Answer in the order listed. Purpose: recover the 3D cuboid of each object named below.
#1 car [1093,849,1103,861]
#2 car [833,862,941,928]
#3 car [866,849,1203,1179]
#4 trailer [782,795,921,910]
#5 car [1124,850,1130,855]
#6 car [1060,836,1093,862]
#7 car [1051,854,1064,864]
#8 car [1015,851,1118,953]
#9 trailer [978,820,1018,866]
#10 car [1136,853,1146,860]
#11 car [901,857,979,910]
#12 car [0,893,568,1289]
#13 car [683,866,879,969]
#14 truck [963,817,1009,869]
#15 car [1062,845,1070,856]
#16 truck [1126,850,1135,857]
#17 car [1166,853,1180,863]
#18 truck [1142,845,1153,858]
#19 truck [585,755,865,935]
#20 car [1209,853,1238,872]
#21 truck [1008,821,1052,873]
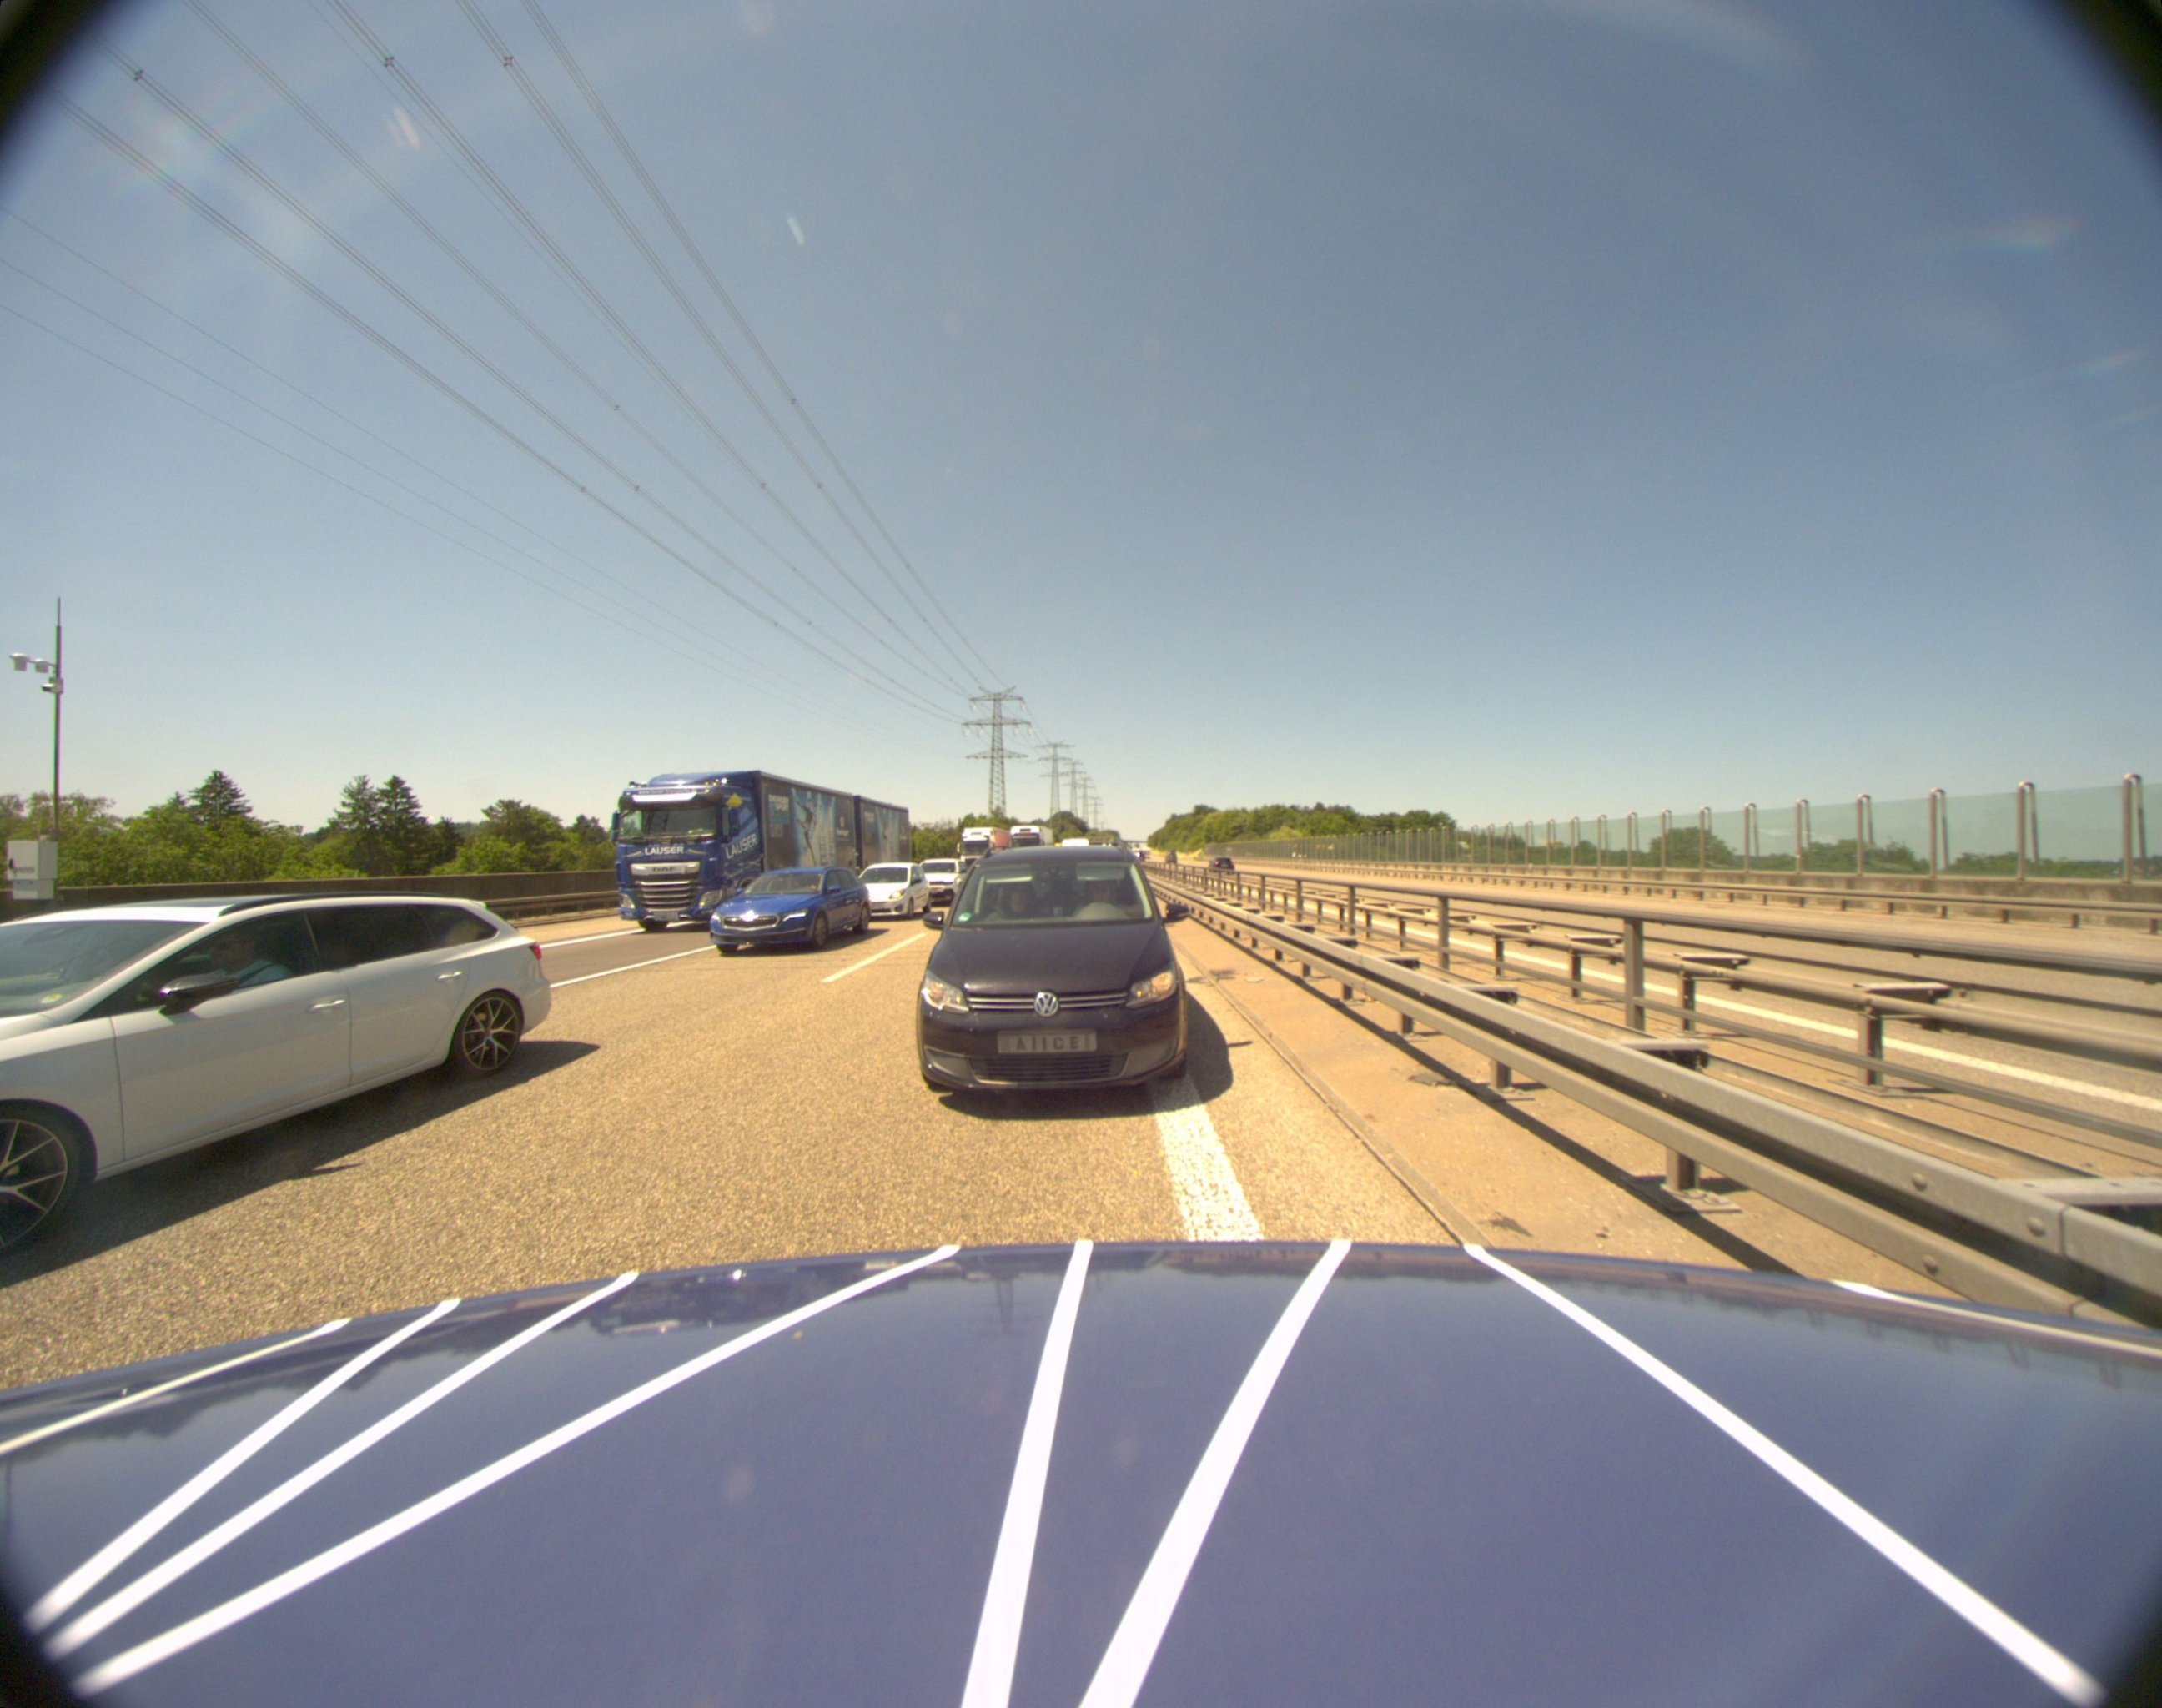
[{"bbox_3d":[3.247,0.127,144.543,1.704,2.116,4.000,-2,1,1],"label":"car"},{"bbox_3d":[-5.105,1.023,20.557,1.712,1.443,4.144,-2,1,2],"label":"car"},{"bbox_3d":[-0.214,0.837,5.971,1.712,1.669,3.931,-2,1,1],"label":"car"},{"bbox_3d":[-9.186,-0.110,31.729,2.835,4.065,8.637,-2,1,1],"label":"trailer"},{"bbox_3d":[14.703,-0.416,241.302,1.704,1.412,4.000,2,1,1],"label":"car"},{"bbox_3d":[-0.227,-0.338,49.022,1.924,1.501,3.996,-2,1,2],"label":"car"},{"bbox_3d":[-3.499,0.734,113.596,1.704,1.412,4.000,2,1,1],"label":"car"},{"bbox_3d":[-0.222,0.825,15.138,1.712,1.669,3.931,-2,1,1],"label":"car"},{"bbox_3d":[-7.848,-1.032,72.933,2.608,4.094,9.084,-2,1,0],"label":"trailer"},{"bbox_3d":[11.903,0.459,151.303,1.704,1.412,4.000,2,1,1],"label":"car"},{"bbox_3d":[-4.647,0.929,25.624,1.712,1.501,4.144,-2,1,2],"label":"car"},{"bbox_3d":[-5.251,1.074,4.233,1.713,1.443,4.429,-2,0,0],"label":"car"},{"bbox_3d":[-5.363,1.039,14.319,1.712,1.443,4.563,-2,1,2],"label":"car"},{"bbox_3d":[-7.904,-0.929,64.197,2.608,3.964,8.263,-2,1,0],"label":"truck"},{"bbox_3d":[-3.644,-0.838,188.629,1.704,2.525,4.000,2,1,1],"label":"car"},{"bbox_3d":[13.507,-0.248,207.740,2.295,1.807,5.279,2,1,1],"label":"truck"},{"bbox_3d":[15.242,0.641,125.850,1.832,1.629,4.000,2,1,1],"label":"car"},{"bbox_3d":[17.906,-0.699,204.632,2.638,3.295,6.075,2,1,1],"label":"truck"},{"bbox_3d":[-9.441,-0.266,22.200,2.859,3.927,10.393,-2,1,2],"label":"truck"},{"bbox_3d":[11.676,0.709,62.399,1.704,1.412,4.000,2,1,1],"label":"car"},{"bbox_3d":[-4.031,-0.588,62.160,2.849,3.804,8.263,-2,1,0],"label":"truck"}]
